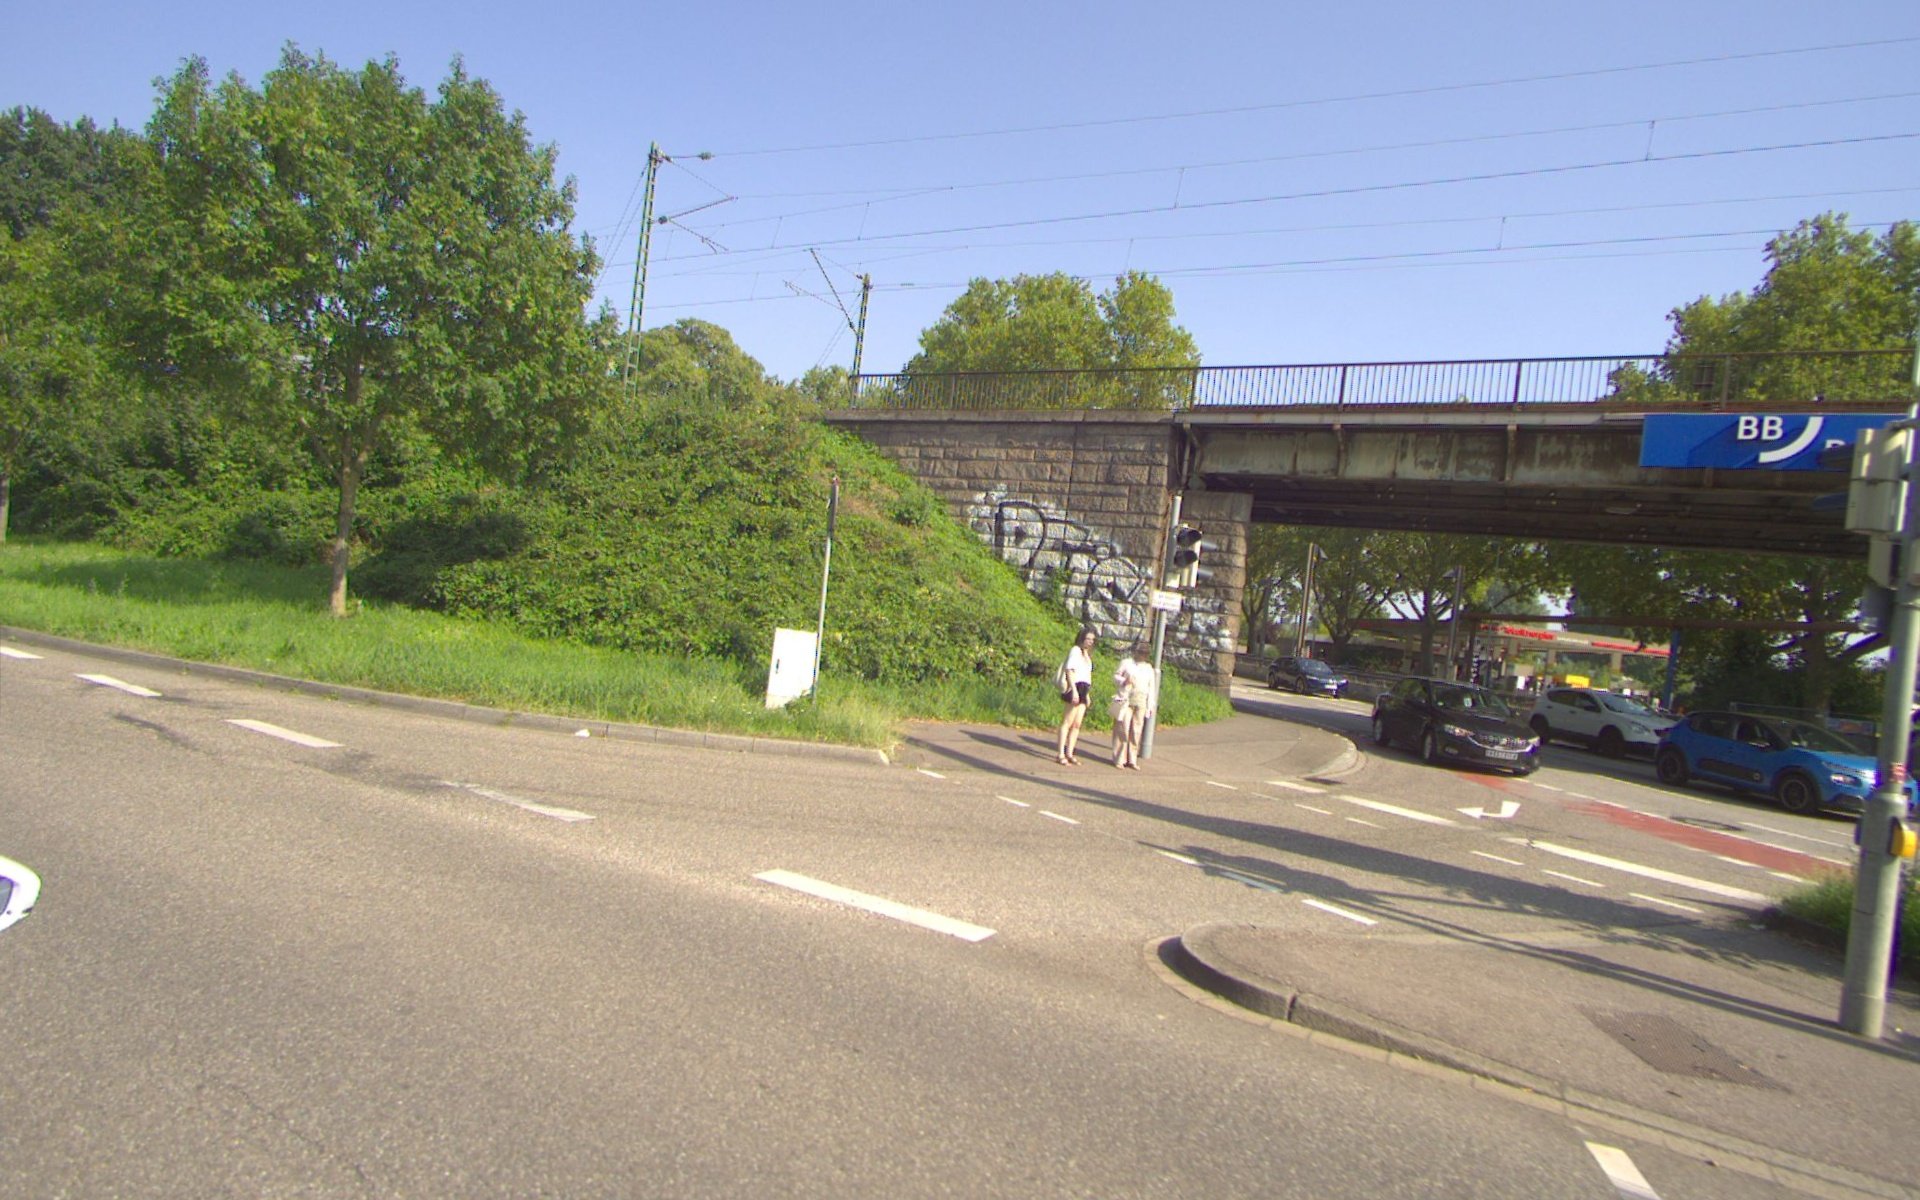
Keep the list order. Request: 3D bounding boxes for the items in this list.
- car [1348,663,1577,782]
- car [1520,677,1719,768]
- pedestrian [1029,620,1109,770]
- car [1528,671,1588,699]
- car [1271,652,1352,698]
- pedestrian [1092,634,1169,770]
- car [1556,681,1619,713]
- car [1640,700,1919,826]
[{"bbox_3d":[9.012,2.136,18.521,1.837,1.551,4.193,7,-1,-2],"label":"car"},{"bbox_3d":[16.343,2.972,25.243,1.974,1.637,4.216,7,-1,-2],"label":"car"},{"bbox_3d":[1.319,1.150,12.215,0.563,1.705,0.489,6,6,-21],"label":"pedestrian"},{"bbox_3d":[55.024,7.785,92.671,1.964,2.038,5.109,6,-1,-4],"label":"car"},{"bbox_3d":[14.751,3.134,42.462,1.767,1.528,4.000,6,-1,-2],"label":"car"},{"bbox_3d":[2.120,1.269,12.578,0.528,1.588,0.569,6,4,-20],"label":"pedestrian"},{"bbox_3d":[49.430,7.607,79.321,2.091,2.038,3.998,6,-1,-4],"label":"car"},{"bbox_3d":[14.038,2.698,17.317,1.589,1.470,3.998,5,-1,-5],"label":"car"}]
